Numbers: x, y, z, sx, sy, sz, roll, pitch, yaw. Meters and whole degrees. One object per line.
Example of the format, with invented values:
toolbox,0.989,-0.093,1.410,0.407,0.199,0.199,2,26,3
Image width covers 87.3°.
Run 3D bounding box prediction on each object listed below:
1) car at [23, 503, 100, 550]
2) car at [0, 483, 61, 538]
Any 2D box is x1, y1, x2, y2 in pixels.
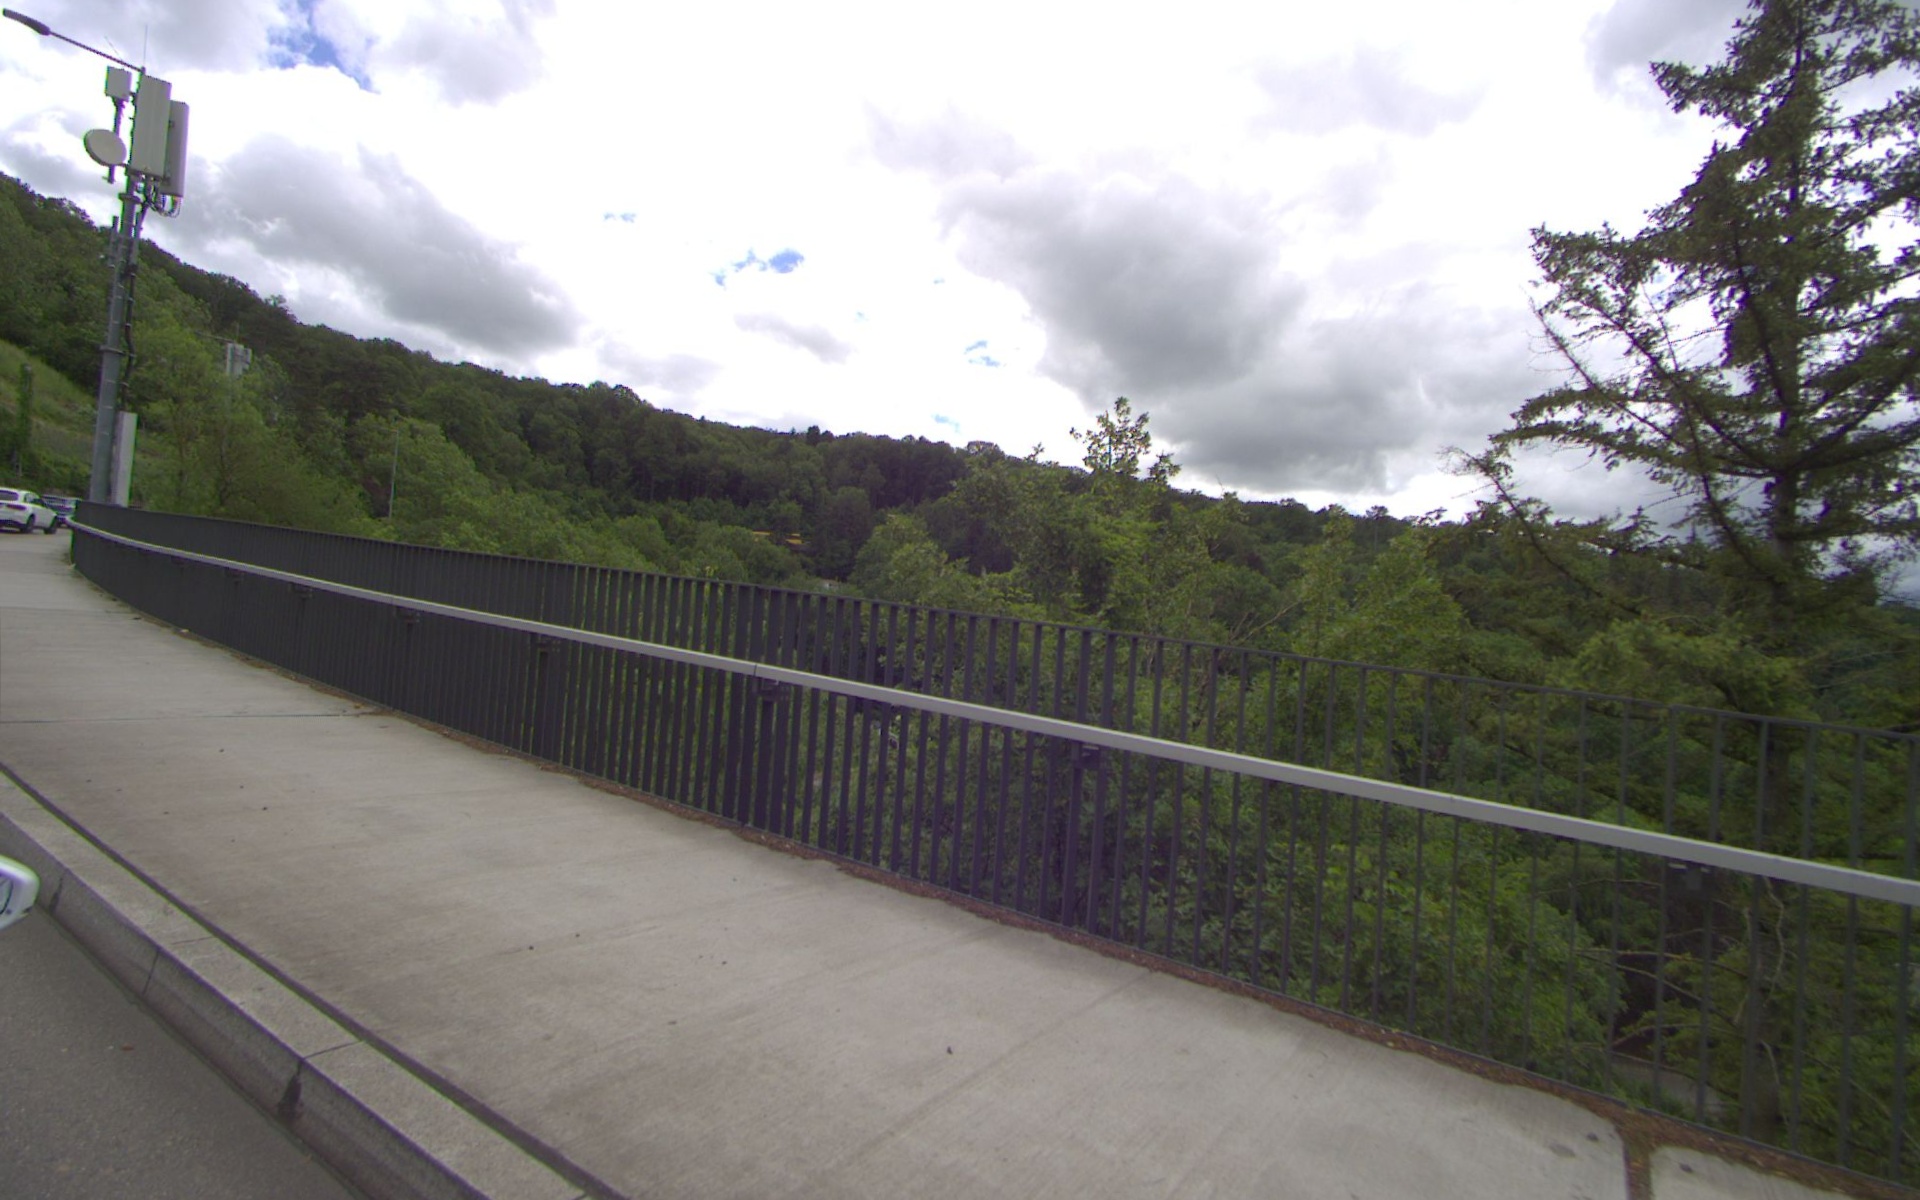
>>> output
car,-44.899,-3.642,50.372,1.976,2.039,3.970,4,1,-29
car,-35.839,-3.408,37.910,1.977,1.738,4.085,6,-2,-29
